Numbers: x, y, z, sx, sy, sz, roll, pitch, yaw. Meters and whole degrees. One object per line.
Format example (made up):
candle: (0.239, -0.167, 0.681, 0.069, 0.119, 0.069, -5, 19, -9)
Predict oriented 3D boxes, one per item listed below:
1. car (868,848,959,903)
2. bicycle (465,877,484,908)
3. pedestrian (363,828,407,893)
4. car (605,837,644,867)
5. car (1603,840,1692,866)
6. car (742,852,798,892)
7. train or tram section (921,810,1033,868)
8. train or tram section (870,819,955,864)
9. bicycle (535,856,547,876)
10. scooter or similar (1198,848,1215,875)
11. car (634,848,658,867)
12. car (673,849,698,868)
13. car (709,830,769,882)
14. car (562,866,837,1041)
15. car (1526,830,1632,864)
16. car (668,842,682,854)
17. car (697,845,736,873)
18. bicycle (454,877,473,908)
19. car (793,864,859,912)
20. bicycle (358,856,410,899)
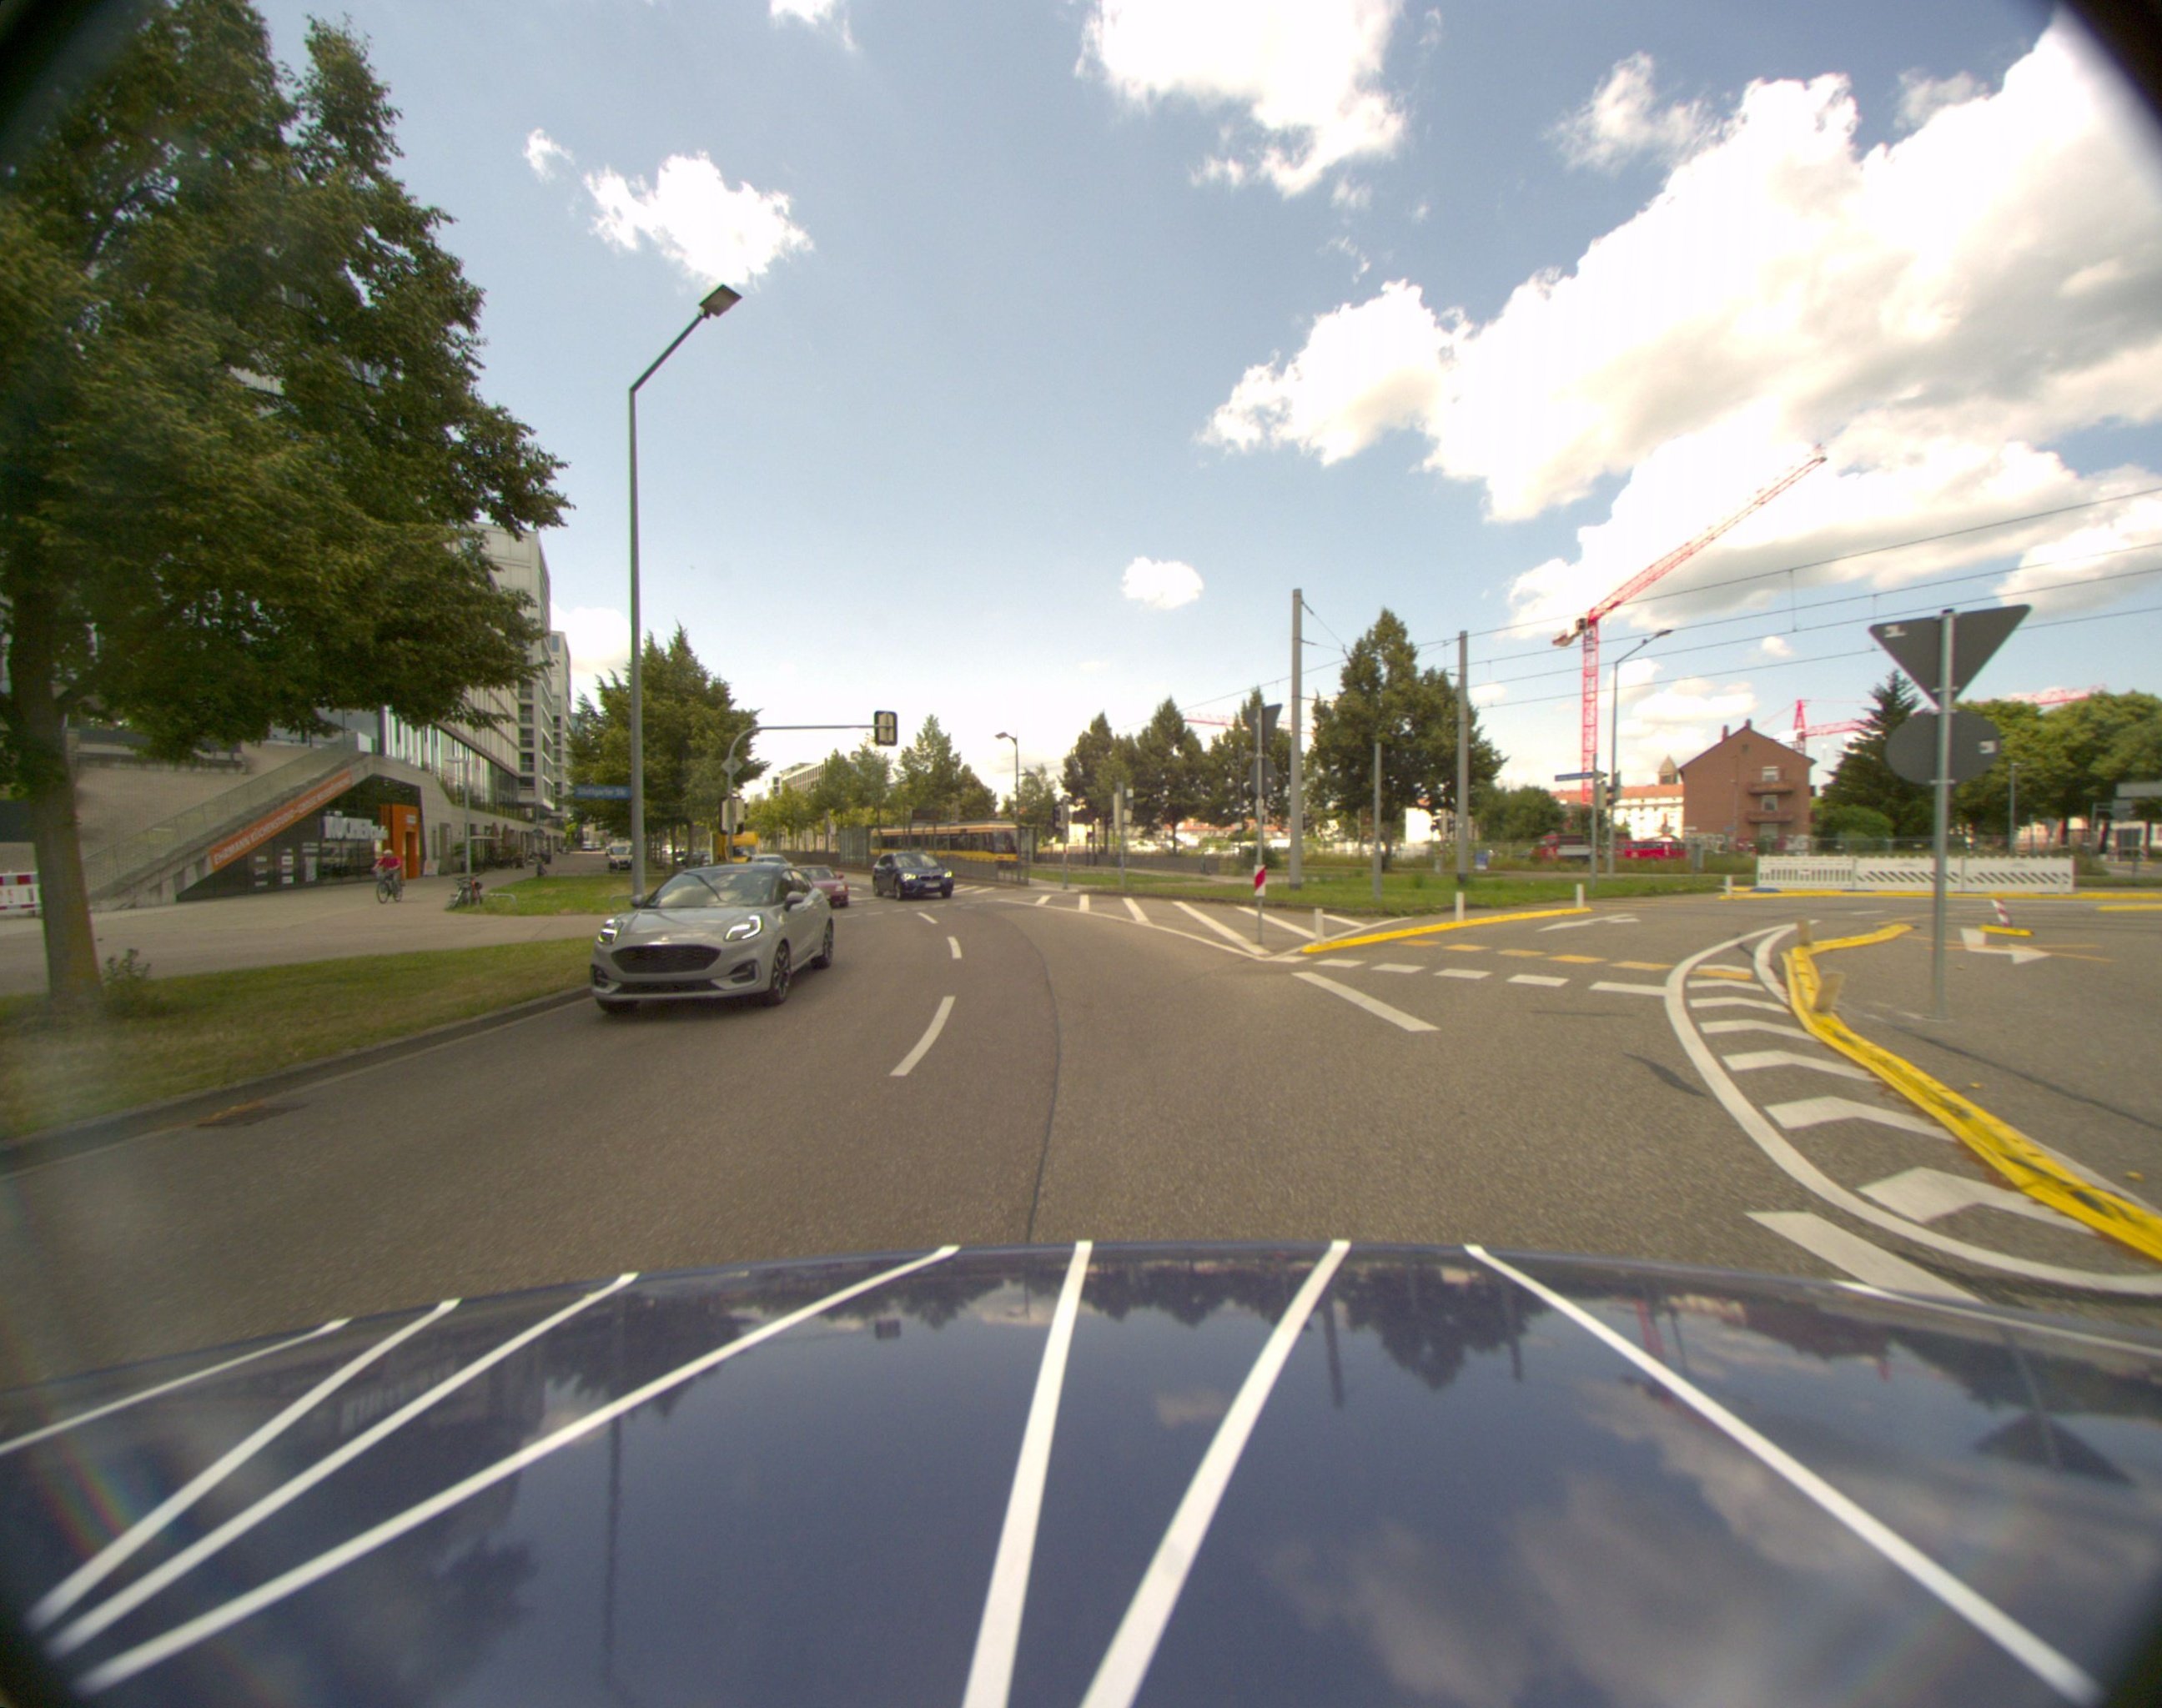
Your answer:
car: (-5.846, 0.658, 26.188, 1.778, 1.590, 4.116, -4, 3, -31)
bicycle: (-17.451, 1.102, 21.868, 0.359, 0.821, 1.469, -2, 1, -37)
pedestrian: (-22.220, 0.186, 24.276, 0.756, 2.002, 1.228, -2, 3, -33)
car: (-38.148, -0.224, 63.624, 2.165, 2.381, 6.263, -3, 3, -27)
car: (41.737, -0.119, 56.128, 2.088, 1.842, 5.178, -1, 1, -12)
car: (-14.269, 0.765, 34.715, 1.677, 1.590, 4.117, -3, 2, -31)
train or tram section: (-7.945, -1.025, 55.318, 2.856, 3.718, 13.442, -1, 1, -31)
train or tram section: (-15.280, -1.066, 67.351, 2.700, 3.618, 14.627, -1, 1, -31)
bicycle: (-30.590, 0.675, 43.076, 0.517, 1.082, 1.744, -1, 1, -35)
scooter or similar: (6.416, 0.351, 39.003, 0.419, 1.295, 1.343, -1, 4, -11)
car: (-41.156, 0.265, 71.956, 1.827, 1.642, 3.990, -3, 3, -28)
car: (-39.454, 0.400, 75.699, 2.003, 1.682, 4.285, -3, 3, -30)
car: (-20.445, 0.039, 45.228, 2.289, 2.837, 7.237, -1, 1, -31)
car: (-4.222, 0.959, 9.191, 1.675, 1.463, 4.088, 0, 1, -7)
car: (35.113, -0.518, 53.902, 2.394, 2.185, 6.832, -1, 1, -7)
car: (-71.728, -1.025, 134.253, 2.002, 2.003, 3.990, -3, 3, -26)
car: (-25.078, 0.317, 52.208, 2.003, 1.751, 4.285, -3, 3, -30)
bicycle: (-17.884, 1.112, 22.018, 0.359, 0.821, 1.469, -2, 1, -37)
car: (-8.081, 0.999, 23.875, 1.677, 1.254, 4.084, -1, 1, -22)
bicycle: (-22.141, 0.725, 24.181, 0.814, 1.237, 2.404, 0, 1, -33)
